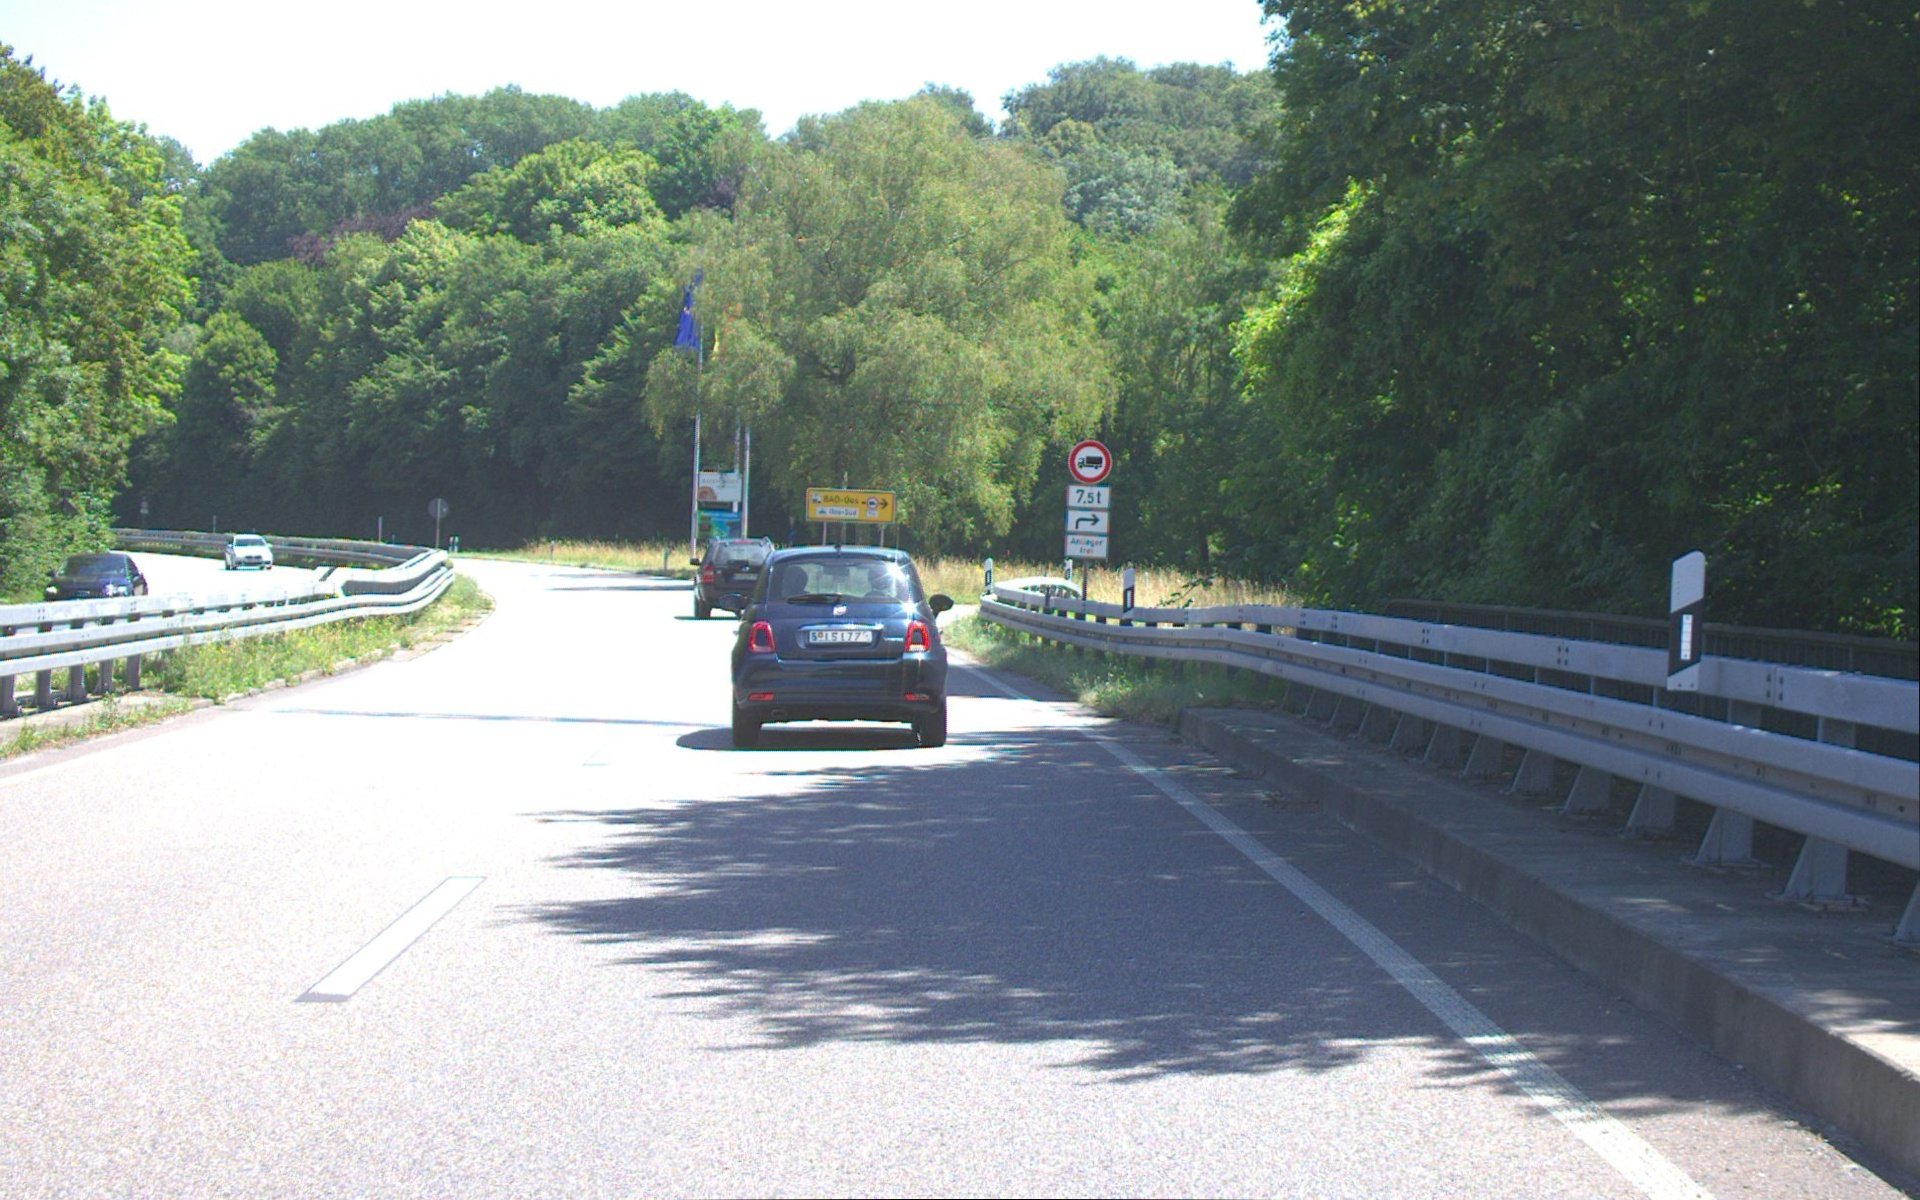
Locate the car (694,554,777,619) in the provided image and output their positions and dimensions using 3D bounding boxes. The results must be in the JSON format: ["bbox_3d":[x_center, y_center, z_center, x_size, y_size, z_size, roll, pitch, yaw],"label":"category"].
[{"bbox_3d":[-4.690,-0.298,71.454,1.525,1.309,3.416,0,1,-7],"label":"car"}]

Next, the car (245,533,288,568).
[{"bbox_3d":[-31.957,-2.293,158.287,1.755,1.567,4.415,0,1,-14],"label":"car"}]

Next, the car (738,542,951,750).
[{"bbox_3d":[-0.841,0.303,26.685,1.513,1.495,3.590,0,1,0],"label":"car"}]

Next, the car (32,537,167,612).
[{"bbox_3d":[-18.024,-0.559,72.197,1.755,1.523,4.685,0,1,-2],"label":"car"}]
